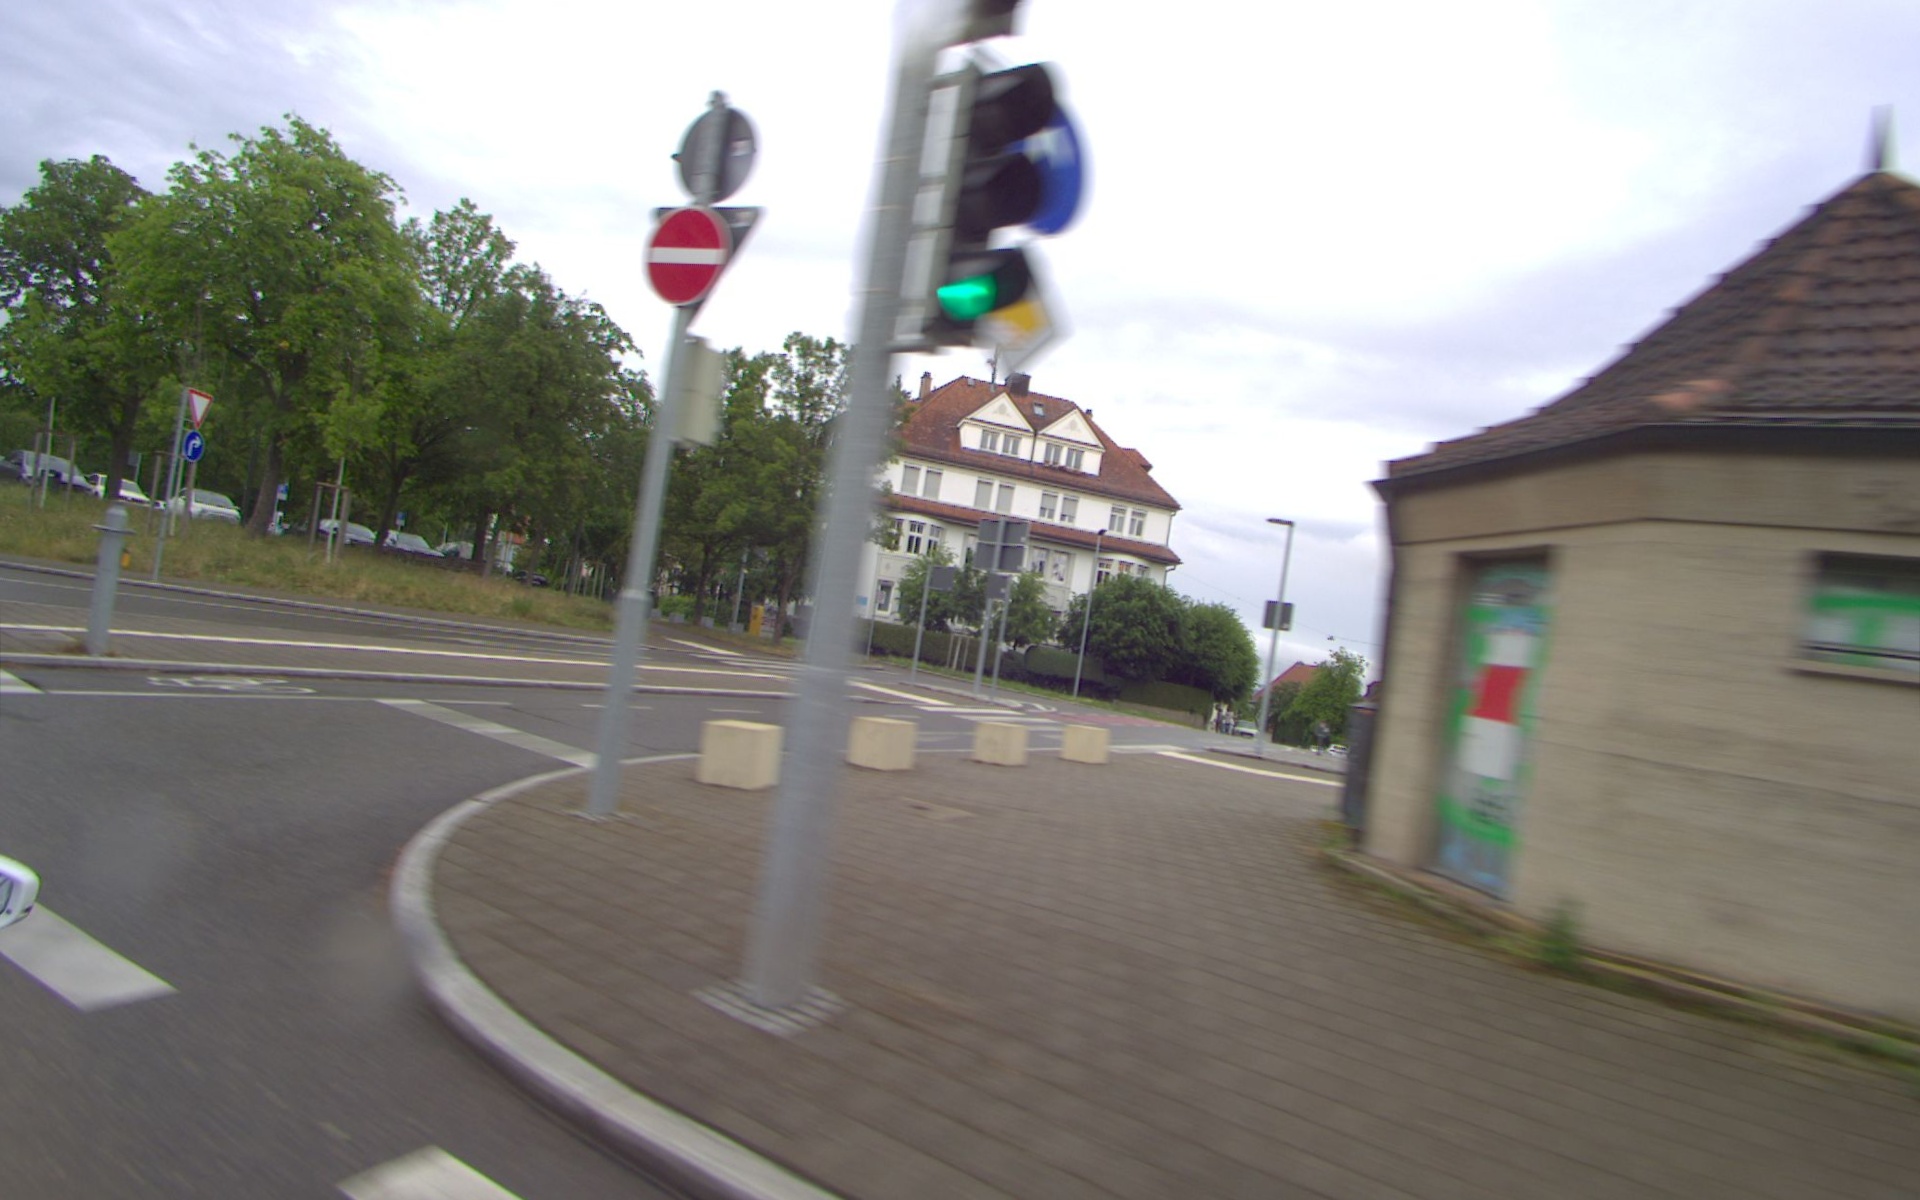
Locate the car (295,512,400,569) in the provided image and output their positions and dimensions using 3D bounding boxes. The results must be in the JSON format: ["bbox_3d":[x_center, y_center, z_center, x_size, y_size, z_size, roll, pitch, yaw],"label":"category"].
[{"bbox_3d":[-25.490,-2.476,41.828,3.934,1.678,2.000,8,-4,32],"label":"car"}]

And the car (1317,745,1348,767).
[{"bbox_3d":[32.760,13.697,88.533,1.813,1.395,4.010,8,-4,13],"label":"car"}]

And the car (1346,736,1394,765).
[{"bbox_3d":[28.388,10.406,69.818,1.962,1.494,5.476,8,-4,13],"label":"car"}]

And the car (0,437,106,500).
[{"bbox_3d":[-30.563,-4.379,33.265,4.211,1.495,2.001,7,-4,29],"label":"car"}]

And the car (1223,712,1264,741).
[{"bbox_3d":[18.925,8.452,67.297,1.962,1.495,4.010,9,-4,8],"label":"car"}]

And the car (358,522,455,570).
[{"bbox_3d":[-23.771,-2.323,43.183,4.005,1.495,1.890,6,-5,35],"label":"car"}]

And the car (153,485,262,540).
[{"bbox_3d":[-28.205,-3.275,37.682,4.003,1.495,1.891,6,-5,34],"label":"car"}]

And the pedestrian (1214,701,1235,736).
[{"bbox_3d":[15.066,6.762,57.300,0.807,1.856,0.696,8,-4,23],"label":"pedestrian"}]

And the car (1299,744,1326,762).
[{"bbox_3d":[36.442,15.797,104.122,1.962,1.395,4.010,8,-4,13],"label":"car"}]

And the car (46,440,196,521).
[{"bbox_3d":[-25.274,-3.609,30.299,3.931,1.678,2.002,8,-4,29],"label":"car"}]

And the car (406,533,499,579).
[{"bbox_3d":[-23.483,-2.040,46.546,4.002,1.495,1.891,7,-5,32],"label":"car"}]

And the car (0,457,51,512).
[{"bbox_3d":[-42.686,-5.265,44.671,3.930,2.036,2.000,8,-2,27],"label":"car"}]

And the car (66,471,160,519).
[{"bbox_3d":[-36.733,-4.549,43.631,4.003,1.494,1.892,6,-5,34],"label":"car"}]
